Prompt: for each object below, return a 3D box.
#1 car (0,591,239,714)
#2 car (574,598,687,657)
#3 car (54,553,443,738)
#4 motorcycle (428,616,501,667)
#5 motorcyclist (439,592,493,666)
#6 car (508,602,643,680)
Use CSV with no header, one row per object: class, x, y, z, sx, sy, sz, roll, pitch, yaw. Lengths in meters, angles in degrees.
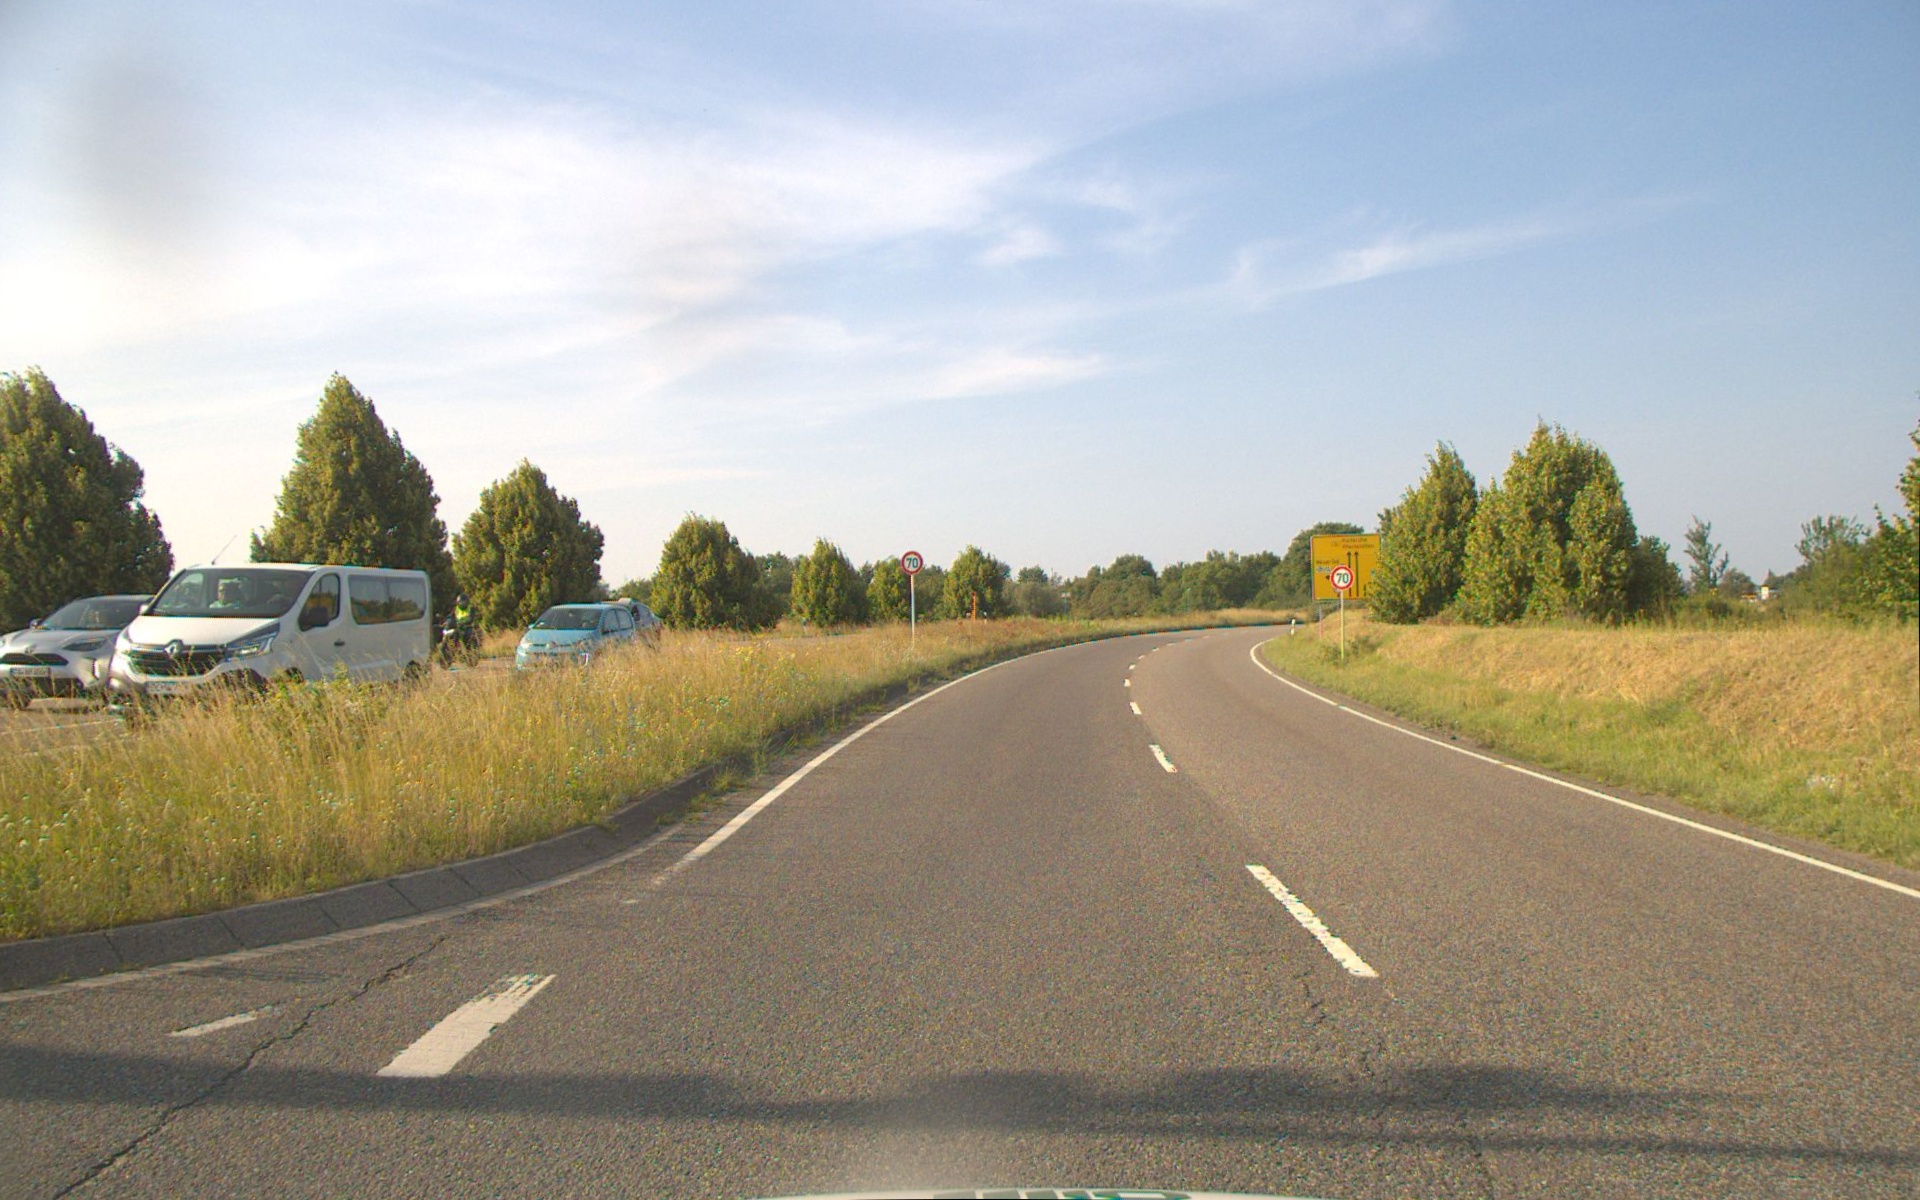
car,-11.861,0.680,23.057,1.670,1.552,4.136,0,0,2
car,-9.382,0.765,47.502,1.872,1.593,4.613,0,0,6
car,-8.364,0.495,20.218,1.952,1.937,5.791,0,0,4
motorcycle,-11.168,0.923,37.373,0.736,1.112,2.309,0,0,6
motorcyclist,-11.133,0.642,37.339,0.736,1.632,1.250,0,-1,6
car,-7.683,0.790,33.379,1.643,1.469,3.753,0,0,3
